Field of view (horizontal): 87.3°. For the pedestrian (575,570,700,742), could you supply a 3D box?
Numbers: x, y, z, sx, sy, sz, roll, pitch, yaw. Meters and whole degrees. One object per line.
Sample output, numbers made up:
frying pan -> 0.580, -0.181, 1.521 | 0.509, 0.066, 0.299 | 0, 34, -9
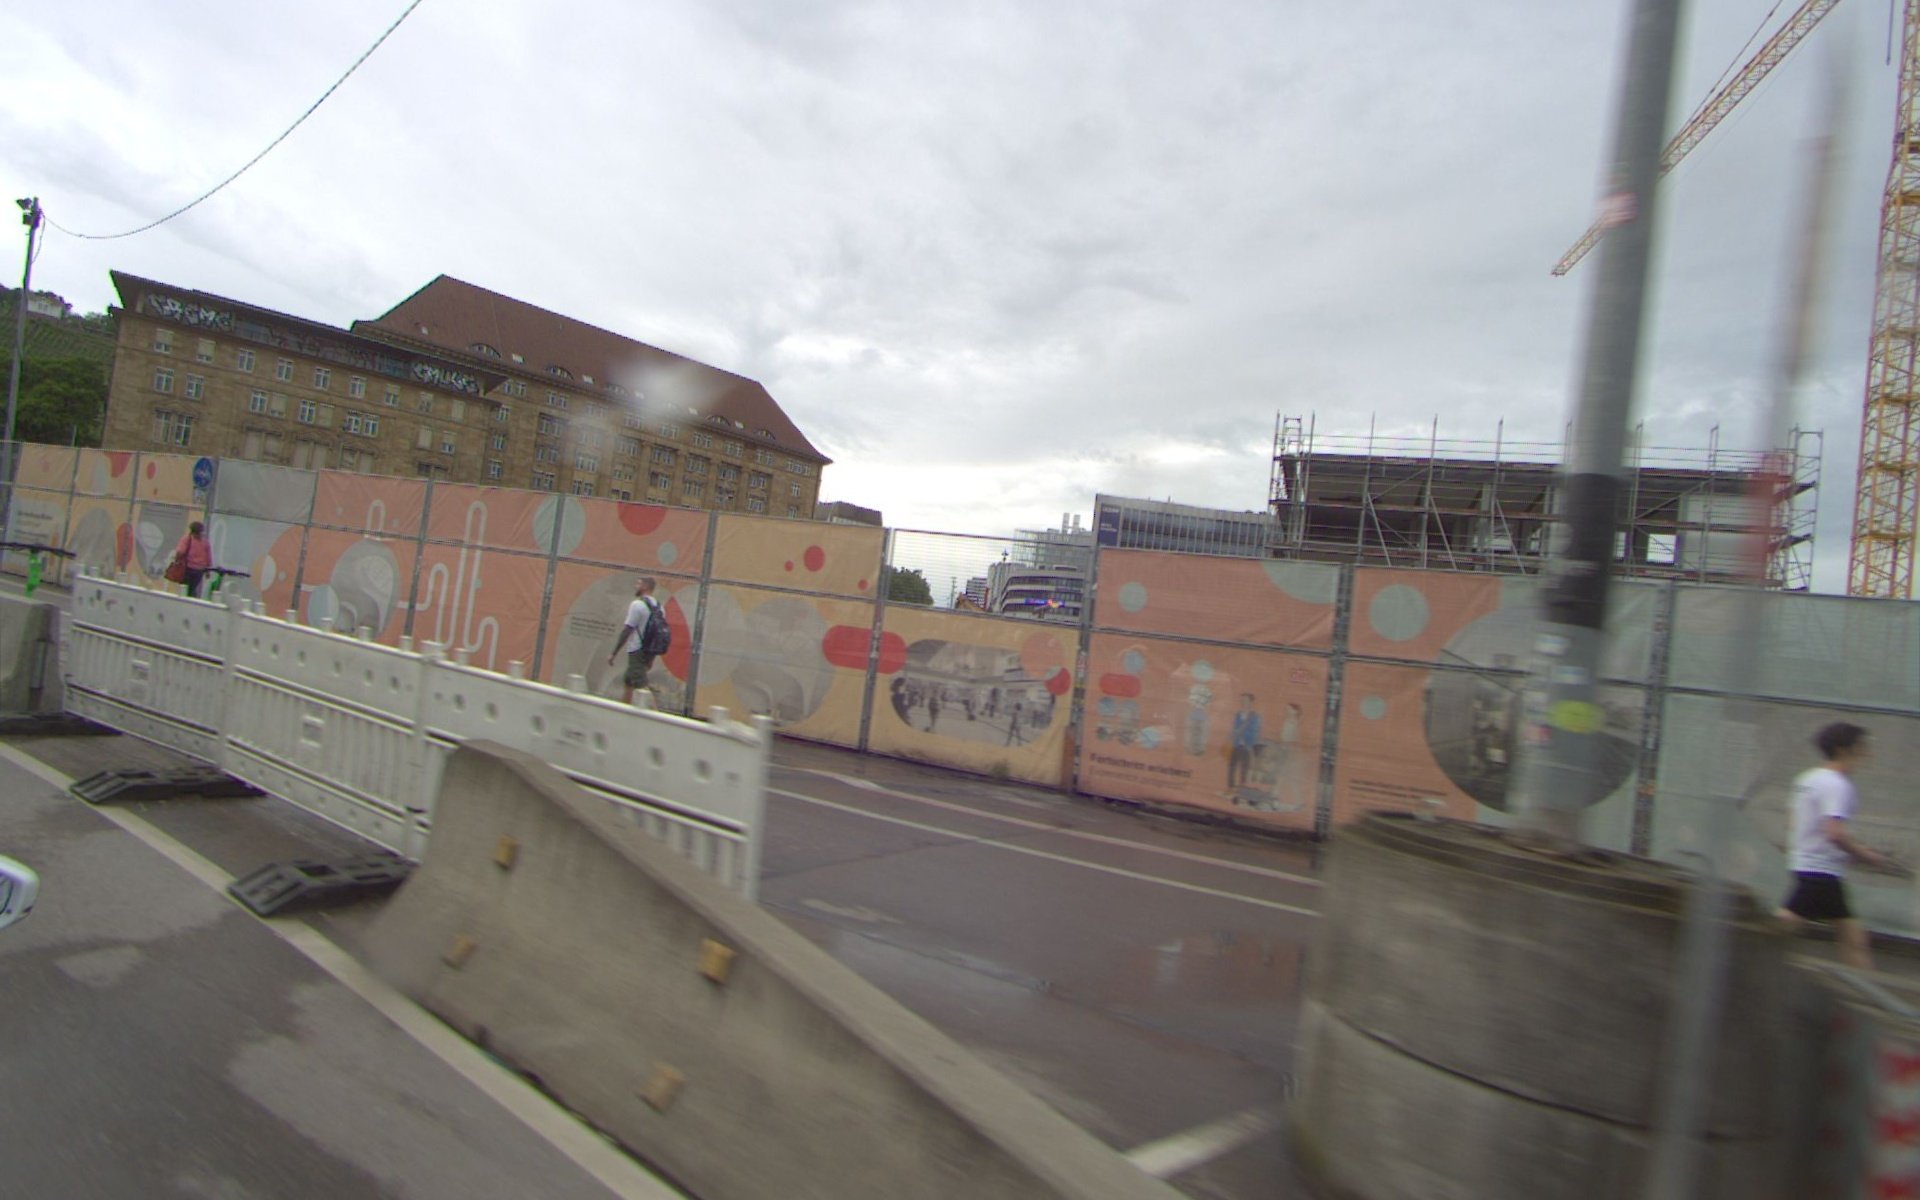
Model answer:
pedestrian -> -3.841, 0.671, 12.002 | 0.973, 1.887, 0.706 | 7, -2, 27

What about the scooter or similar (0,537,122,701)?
scooter or similar -> -7.953, 0.126, 8.566 | 1.545, 1.228, 0.676 | 7, -2, 32

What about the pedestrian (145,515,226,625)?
pedestrian -> -14.307, -0.540, 18.594 | 0.696, 1.887, 0.722 | 7, -2, 25

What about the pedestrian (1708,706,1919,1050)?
pedestrian -> 5.167, 1.575, 5.959 | 0.891, 1.760, 0.686 | 7, -2, 25

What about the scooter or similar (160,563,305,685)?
scooter or similar -> -8.348, 0.274, 11.545 | 1.388, 1.196, 0.469 | 7, -2, 17

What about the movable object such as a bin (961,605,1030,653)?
movable object such as a bin -> 3.086, 2.511, 87.285 | 3.884, 3.532, 4.342 | 4, -3, 38
